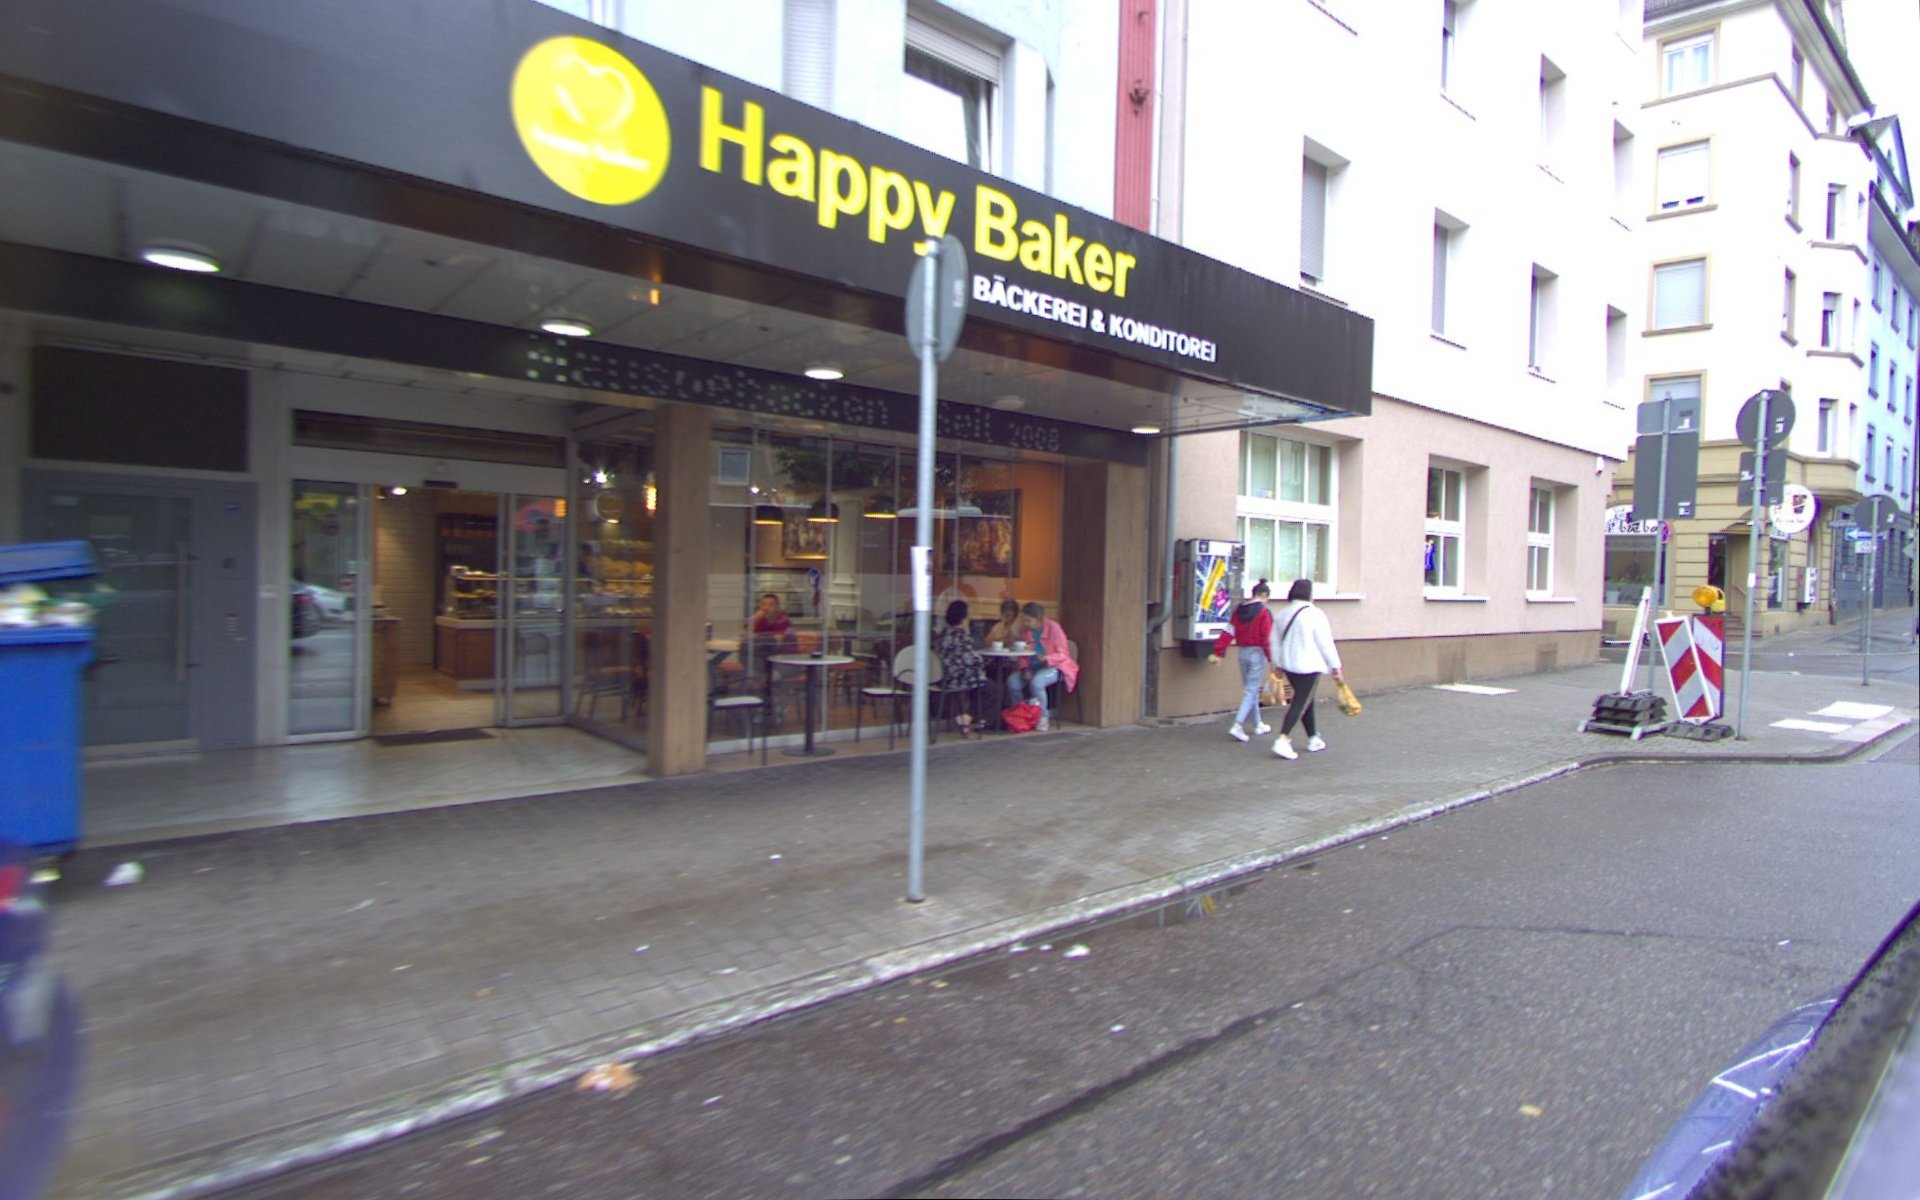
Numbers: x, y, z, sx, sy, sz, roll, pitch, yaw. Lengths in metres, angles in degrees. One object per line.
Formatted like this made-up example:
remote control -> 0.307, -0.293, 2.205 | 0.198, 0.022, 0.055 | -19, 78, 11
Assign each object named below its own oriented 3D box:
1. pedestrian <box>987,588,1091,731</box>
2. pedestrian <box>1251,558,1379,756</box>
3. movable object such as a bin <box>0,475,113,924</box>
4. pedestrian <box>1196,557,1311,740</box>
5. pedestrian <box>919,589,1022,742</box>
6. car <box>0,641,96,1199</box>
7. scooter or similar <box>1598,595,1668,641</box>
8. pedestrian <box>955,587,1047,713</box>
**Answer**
pedestrian -> 0.758, 0.541, 9.744 | 0.647, 1.273, 0.703 | 0, 4, -40
pedestrian -> 3.133, 0.479, 8.993 | 0.767, 1.667, 0.705 | 2, 3, -6
movable object such as a bin -> -4.417, 0.393, 4.250 | 1.274, 1.815, 1.001 | -1, 3, -42
pedestrian -> 2.804, 0.441, 9.736 | 0.767, 1.667, 0.705 | 2, 3, -6
pedestrian -> 0.090, 0.557, 9.079 | 0.645, 1.273, 0.625 | 1, 3, -32
car -> -3.259, 0.810, 0.900 | 3.698, 1.326, 1.739 | -1, 1, -38
scooter or similar -> 18.124, 0.490, 27.277 | 1.457, 1.163, 0.486 | -1, 5, 13
pedestrian -> 0.442, 0.514, 10.974 | 0.647, 1.273, 0.703 | 0, 4, -40
